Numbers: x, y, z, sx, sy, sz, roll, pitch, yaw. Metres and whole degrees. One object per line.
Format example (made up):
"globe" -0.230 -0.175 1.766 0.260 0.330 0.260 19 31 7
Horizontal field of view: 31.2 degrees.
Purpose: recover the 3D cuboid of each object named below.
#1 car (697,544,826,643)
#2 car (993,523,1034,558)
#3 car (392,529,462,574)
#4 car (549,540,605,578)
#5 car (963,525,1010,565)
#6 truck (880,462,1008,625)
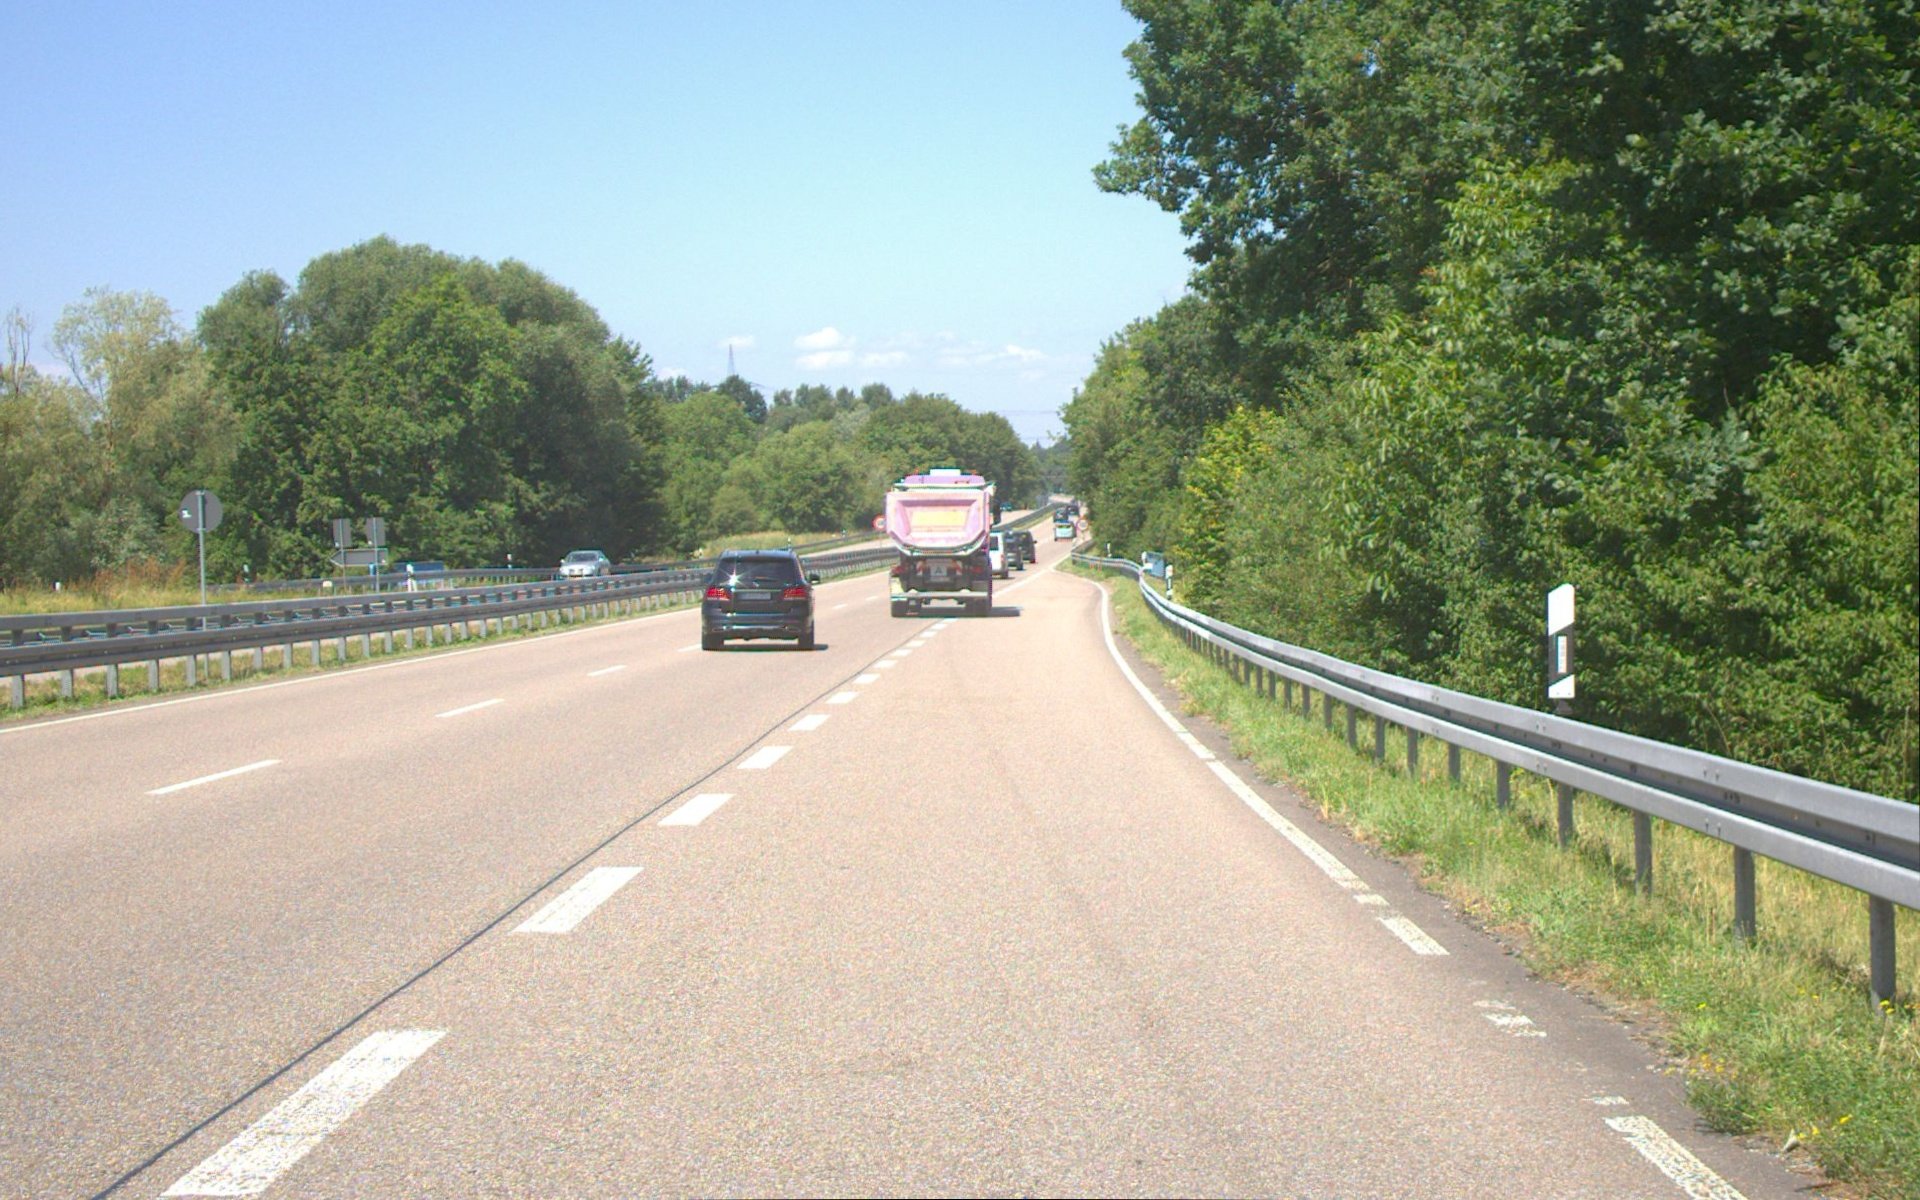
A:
"car" -3.444 -0.135 60.253 1.857 1.665 4.000 0 0 2
"car" 2.623 -2.907 168.109 1.857 1.665 4.000 0 0 2
"car" -17.946 -1.619 115.845 1.918 1.484 4.000 0 0 -3
"car" -16.883 -1.818 151.643 1.724 1.639 4.943 0 1 2
"car" 1.144 -2.328 146.713 1.857 1.665 4.000 0 0 2
"truck" -0.308 -1.600 89.801 2.720 3.916 12.370 -1 2 2
